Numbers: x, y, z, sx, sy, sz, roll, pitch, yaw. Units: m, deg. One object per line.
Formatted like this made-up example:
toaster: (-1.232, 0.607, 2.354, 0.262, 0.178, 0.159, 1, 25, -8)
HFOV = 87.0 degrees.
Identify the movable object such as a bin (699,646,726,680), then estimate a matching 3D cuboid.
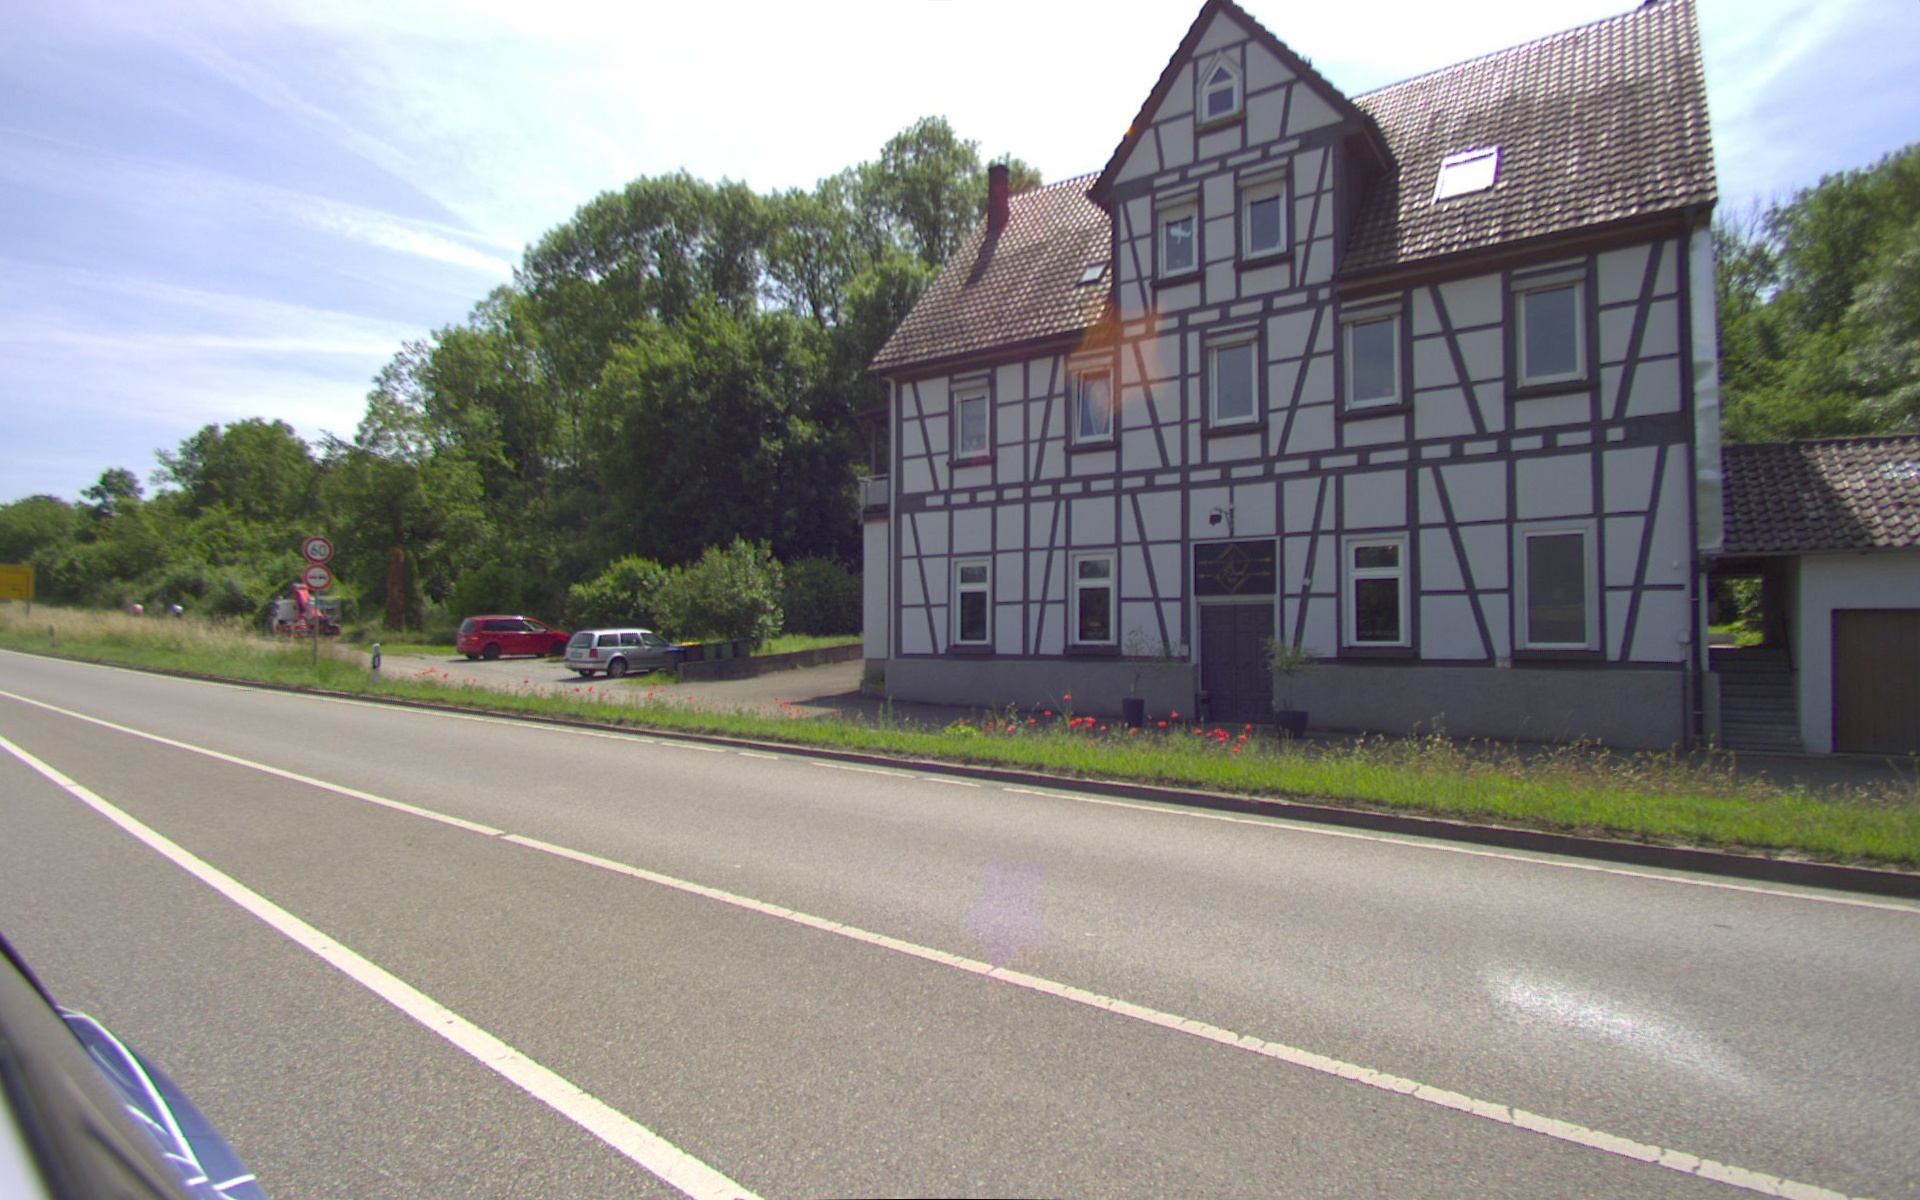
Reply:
movable object such as a bin: (-7.658, 1.937, 31.306, 0.653, 0.984, 0.499, 0, 0, 33)

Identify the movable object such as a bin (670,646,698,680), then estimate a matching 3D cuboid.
movable object such as a bin: (-8.266, 1.886, 30.355, 0.653, 0.977, 0.499, 0, 0, 33)

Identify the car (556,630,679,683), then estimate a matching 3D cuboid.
car: (-10.615, 1.709, 31.551, 1.606, 1.476, 3.348, -1, 0, 34)

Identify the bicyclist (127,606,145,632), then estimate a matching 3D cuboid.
bicyclist: (-51.467, 1.184, 63.207, 0.935, 1.607, 0.740, 0, 0, 41)

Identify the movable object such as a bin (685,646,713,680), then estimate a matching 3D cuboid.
movable object such as a bin: (-7.947, 1.915, 30.830, 0.653, 0.978, 0.499, 0, 0, 33)

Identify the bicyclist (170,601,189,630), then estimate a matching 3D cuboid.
bicyclist: (-47.592, 0.919, 61.715, 0.936, 1.727, 0.740, 0, 0, 43)

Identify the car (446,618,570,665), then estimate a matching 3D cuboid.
car: (-17.385, 1.549, 39.021, 1.832, 1.631, 3.985, 0, 0, 41)

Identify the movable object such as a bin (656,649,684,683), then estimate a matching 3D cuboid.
movable object such as a bin: (-8.576, 1.950, 29.943, 0.653, 0.943, 0.499, 0, 0, 33)

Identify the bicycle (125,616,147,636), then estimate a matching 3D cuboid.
bicycle: (-51.456, 1.604, 63.191, 2.104, 1.221, 0.741, 0, 0, 41)

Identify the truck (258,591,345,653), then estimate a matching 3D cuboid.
truck: (-33.797, 1.068, 51.842, 6.771, 2.986, 2.005, 0, 0, 42)

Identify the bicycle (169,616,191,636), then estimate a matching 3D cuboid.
bicycle: (-47.519, 1.576, 61.651, 2.105, 1.189, 0.740, 0, 0, 43)
